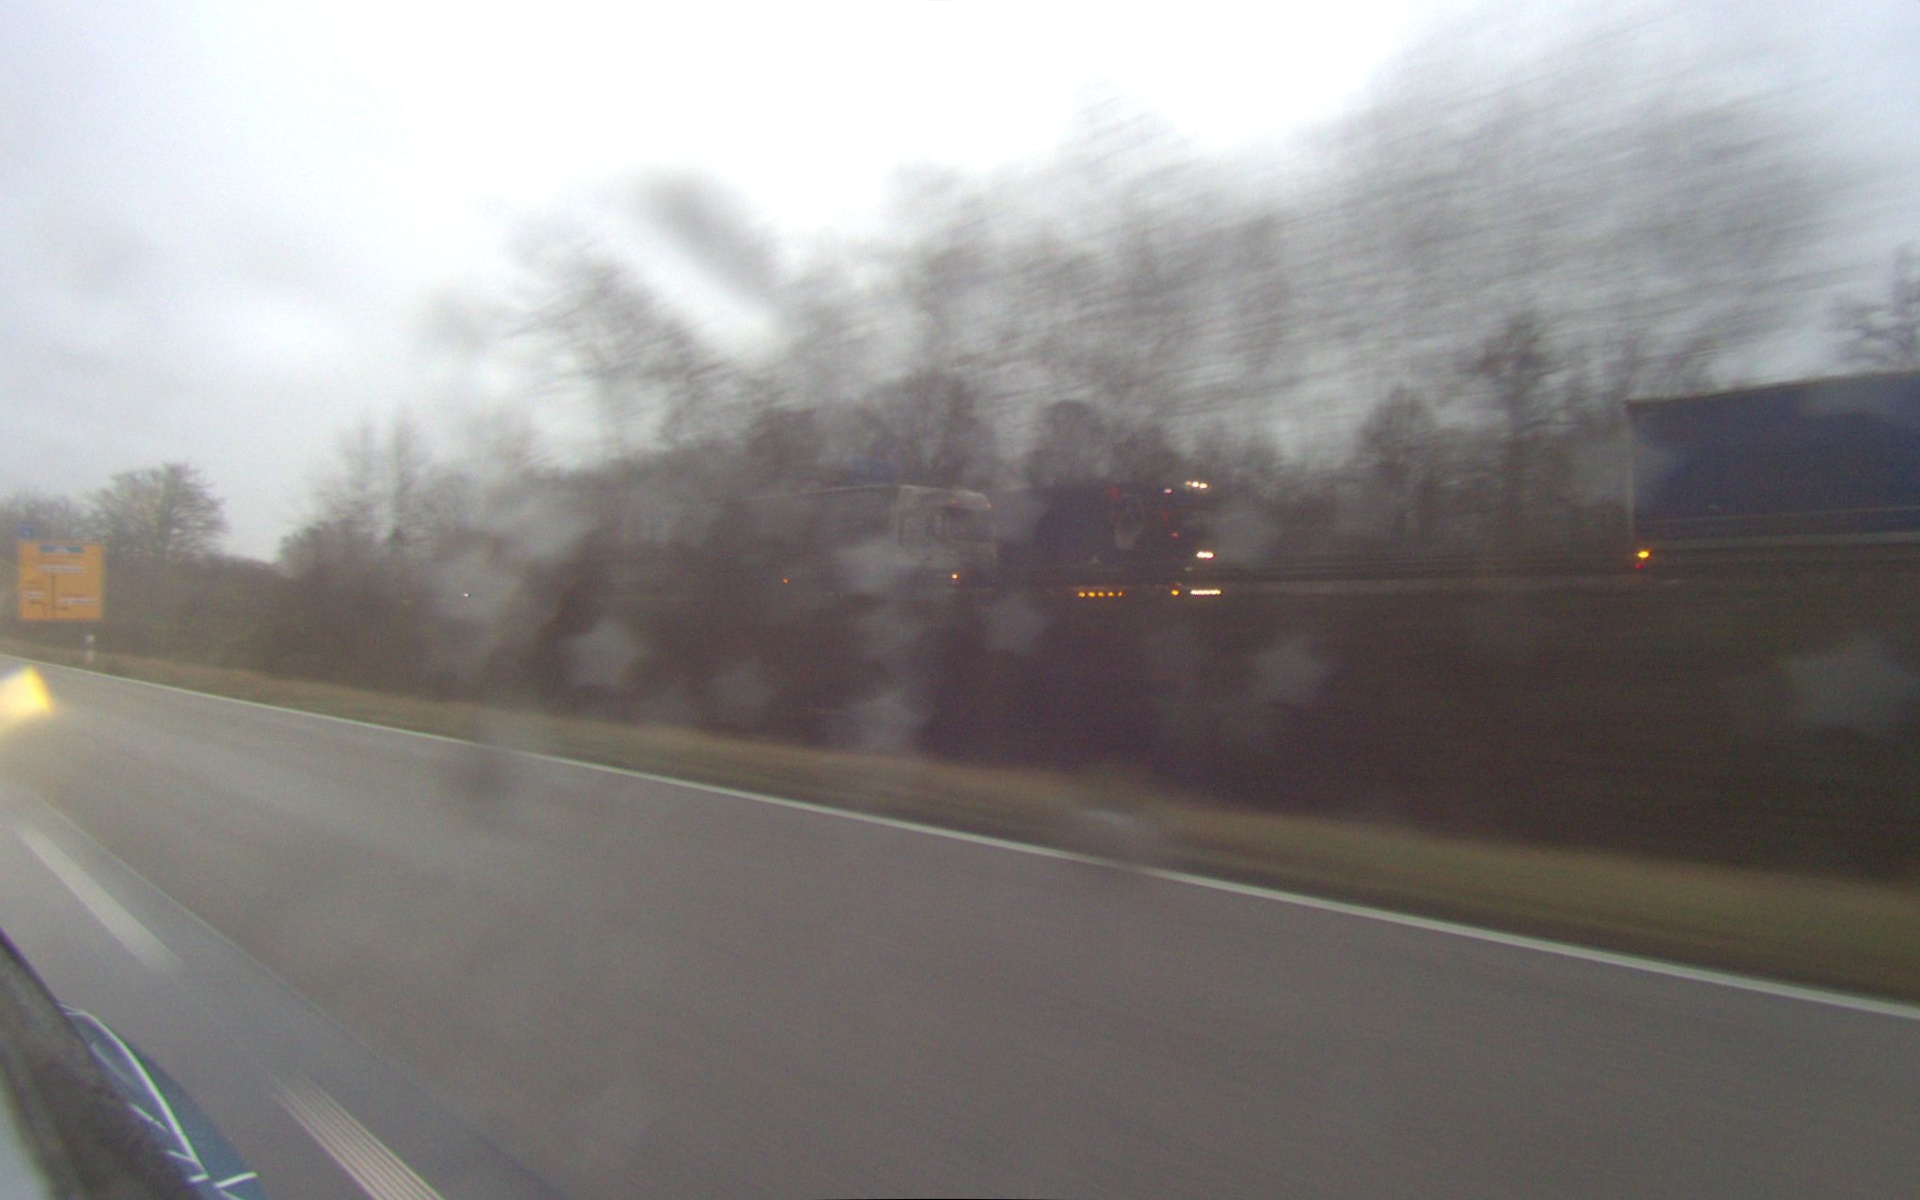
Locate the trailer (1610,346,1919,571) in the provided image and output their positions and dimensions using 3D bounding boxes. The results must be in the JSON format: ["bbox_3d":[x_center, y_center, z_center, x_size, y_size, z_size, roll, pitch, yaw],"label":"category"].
[{"bbox_3d":[18.524,-2.609,17.997,11.380,3.661,2.967,-2,-1,41],"label":"trailer"}]

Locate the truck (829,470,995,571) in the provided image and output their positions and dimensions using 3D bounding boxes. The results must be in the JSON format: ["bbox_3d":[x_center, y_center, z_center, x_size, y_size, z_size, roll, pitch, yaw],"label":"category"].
[{"bbox_3d":[-1.741,-2.594,34.804,5.580,2.909,2.424,-2,-1,41],"label":"truck"}]

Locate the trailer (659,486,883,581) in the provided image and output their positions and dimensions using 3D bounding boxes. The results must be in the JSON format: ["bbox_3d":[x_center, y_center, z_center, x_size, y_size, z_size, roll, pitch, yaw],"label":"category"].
[{"bbox_3d":[-7.806,-2.434,40.114,11.079,2.913,2.410,-2,-1,41],"label":"trailer"}]

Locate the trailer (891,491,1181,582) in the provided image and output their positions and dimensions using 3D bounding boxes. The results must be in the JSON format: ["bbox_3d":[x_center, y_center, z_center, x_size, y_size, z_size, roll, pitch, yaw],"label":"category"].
[{"bbox_3d":[2.372,-2.114,37.127,11.497,2.443,2.482,-2,-2,42],"label":"trailer"}]
